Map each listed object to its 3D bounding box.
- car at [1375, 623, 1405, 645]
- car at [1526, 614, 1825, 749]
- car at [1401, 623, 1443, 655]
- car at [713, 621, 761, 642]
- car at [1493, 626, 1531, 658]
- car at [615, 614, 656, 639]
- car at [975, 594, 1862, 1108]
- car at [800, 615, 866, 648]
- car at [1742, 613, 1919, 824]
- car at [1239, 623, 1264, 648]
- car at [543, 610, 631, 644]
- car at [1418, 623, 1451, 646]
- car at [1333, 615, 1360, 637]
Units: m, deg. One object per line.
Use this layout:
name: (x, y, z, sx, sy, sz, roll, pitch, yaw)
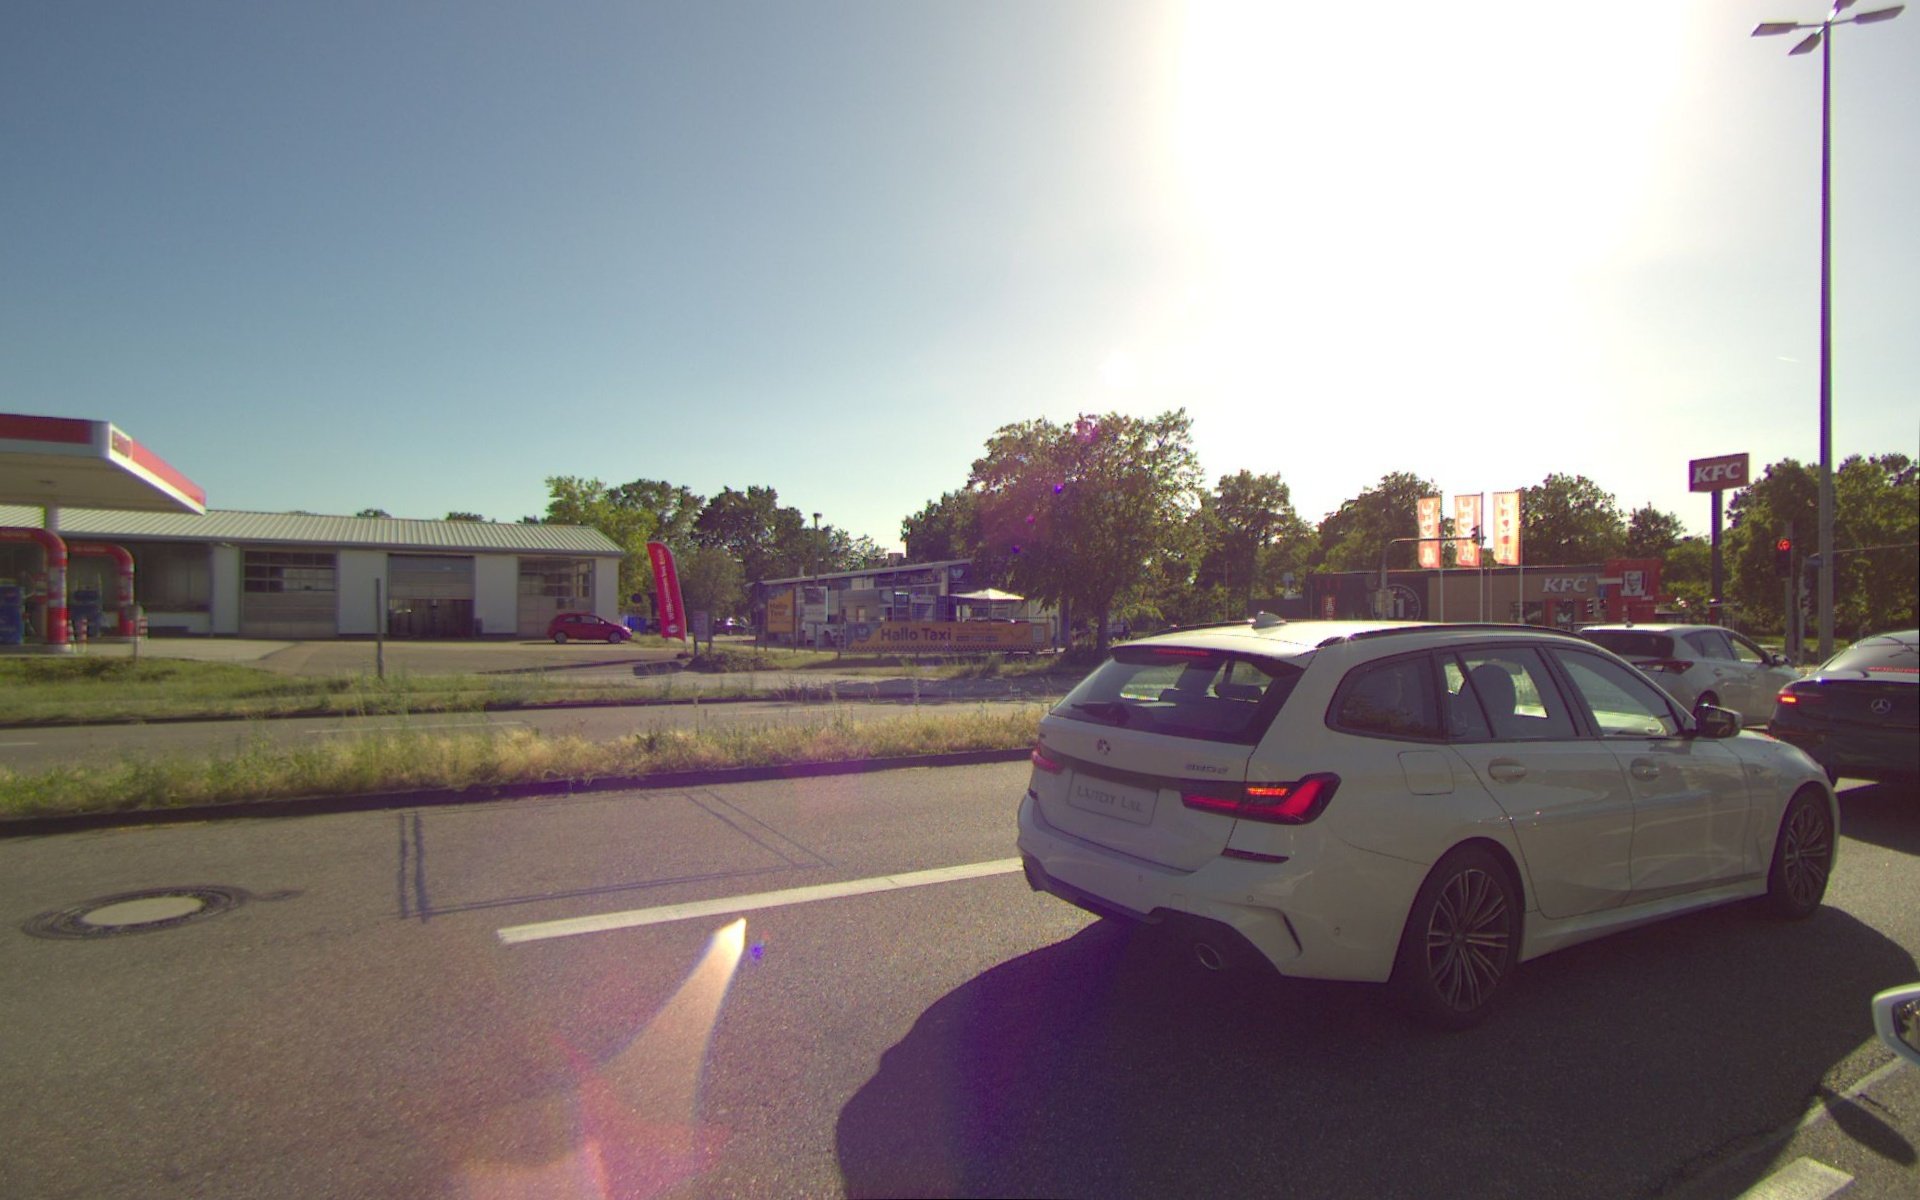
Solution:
car: (31.306, 2.451, 73.222, 1.629, 1.491, 3.919, 2, 0, 18)
car: (9.588, 1.002, 13.392, 4.150, 1.510, 1.750, 2, 0, -31)
car: (28.348, 2.347, 61.522, 1.964, 1.788, 4.349, 2, 0, 29)
car: (-19.425, 2.729, 87.565, 3.929, 1.634, 1.996, 2, 0, -11)
car: (33.094, 2.478, 60.204, 1.880, 1.776, 4.349, 2, 0, 29)
car: (-19.297, 1.553, 59.659, 1.634, 1.383, 3.744, 2, 0, -29)
car: (2.389, 0.799, 4.876, 4.353, 1.510, 1.776, 2, 0, -31)
car: (-6.755, 1.630, 53.106, 1.978, 1.584, 3.964, 2, 0, -32)
car: (8.780, 0.932, 8.640, 4.425, 1.510, 1.787, 2, 0, -31)
car: (21.815, 2.628, 75.155, 1.629, 1.695, 3.945, 2, 0, 18)
car: (-18.343, 1.341, 49.407, 3.946, 1.537, 1.772, 2, 0, -25)
car: (33.939, 2.460, 71.949, 1.629, 1.491, 3.919, 2, 0, 18)
car: (28.295, 1.900, 73.657, 1.629, 1.491, 3.919, 2, 0, 18)
